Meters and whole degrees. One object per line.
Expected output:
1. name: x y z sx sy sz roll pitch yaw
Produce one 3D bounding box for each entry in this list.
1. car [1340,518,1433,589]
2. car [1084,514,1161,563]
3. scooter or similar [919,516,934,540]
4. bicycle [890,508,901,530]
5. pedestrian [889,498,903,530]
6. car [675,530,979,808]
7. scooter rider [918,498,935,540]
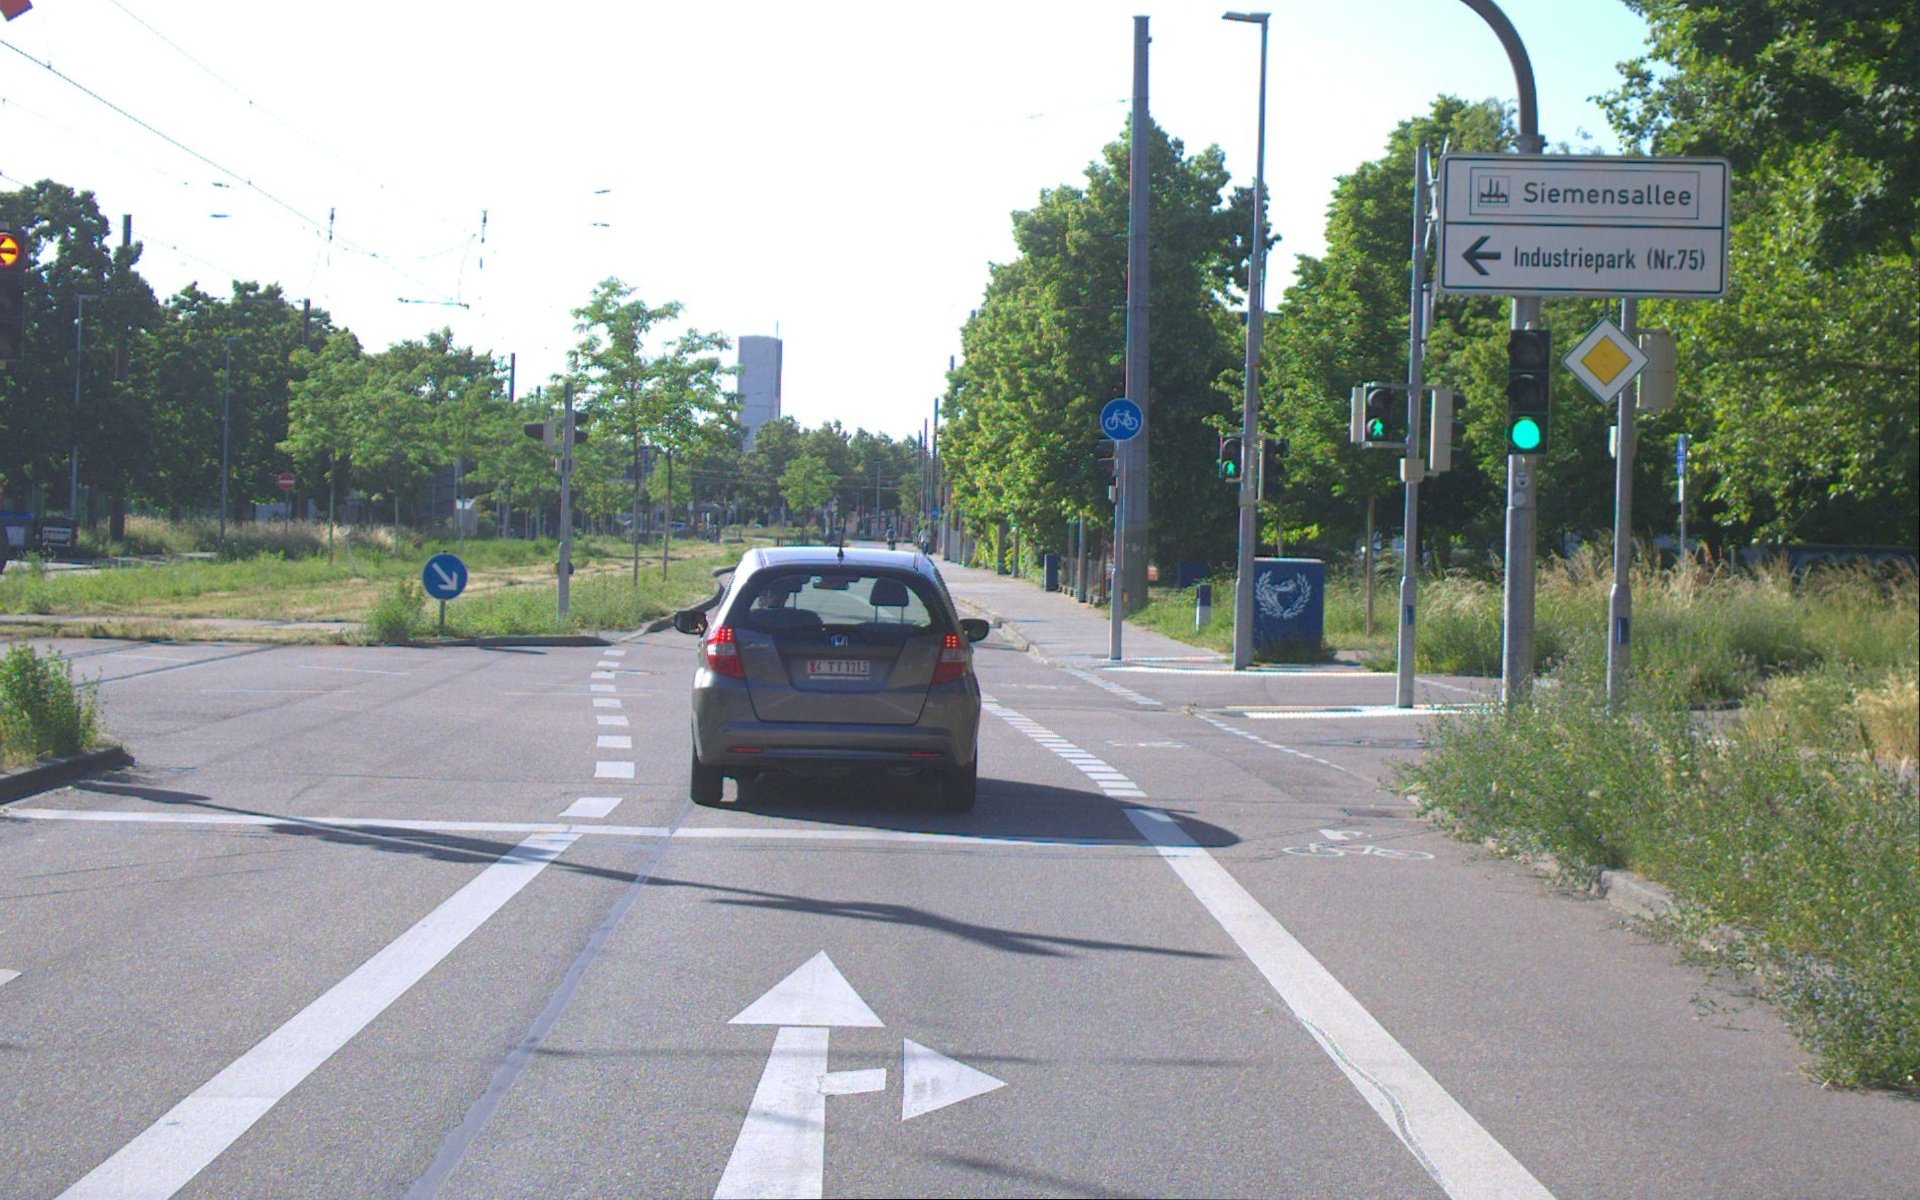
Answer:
1. car: 12.621 -1.413 101.979 1.872 1.960 5.168 2 1 -2
2. car: 4.807 -1.839 102.168 1.773 1.382 3.871 1 1 -5
3. scooter or similar: -1.525 -3.276 156.383 0.539 1.114 1.417 1 1 -4
4. bicycle: -3.672 -4.617 196.672 0.512 1.237 3.090 1 2 -3
5. pedestrian: -3.673 -4.935 196.780 0.722 1.794 1.165 1 1 -3
6. car: -0.738 0.351 21.031 1.624 1.494 3.457 2 1 1
7. scooter rider: -1.526 -3.690 156.424 0.716 1.894 0.935 1 1 -4
